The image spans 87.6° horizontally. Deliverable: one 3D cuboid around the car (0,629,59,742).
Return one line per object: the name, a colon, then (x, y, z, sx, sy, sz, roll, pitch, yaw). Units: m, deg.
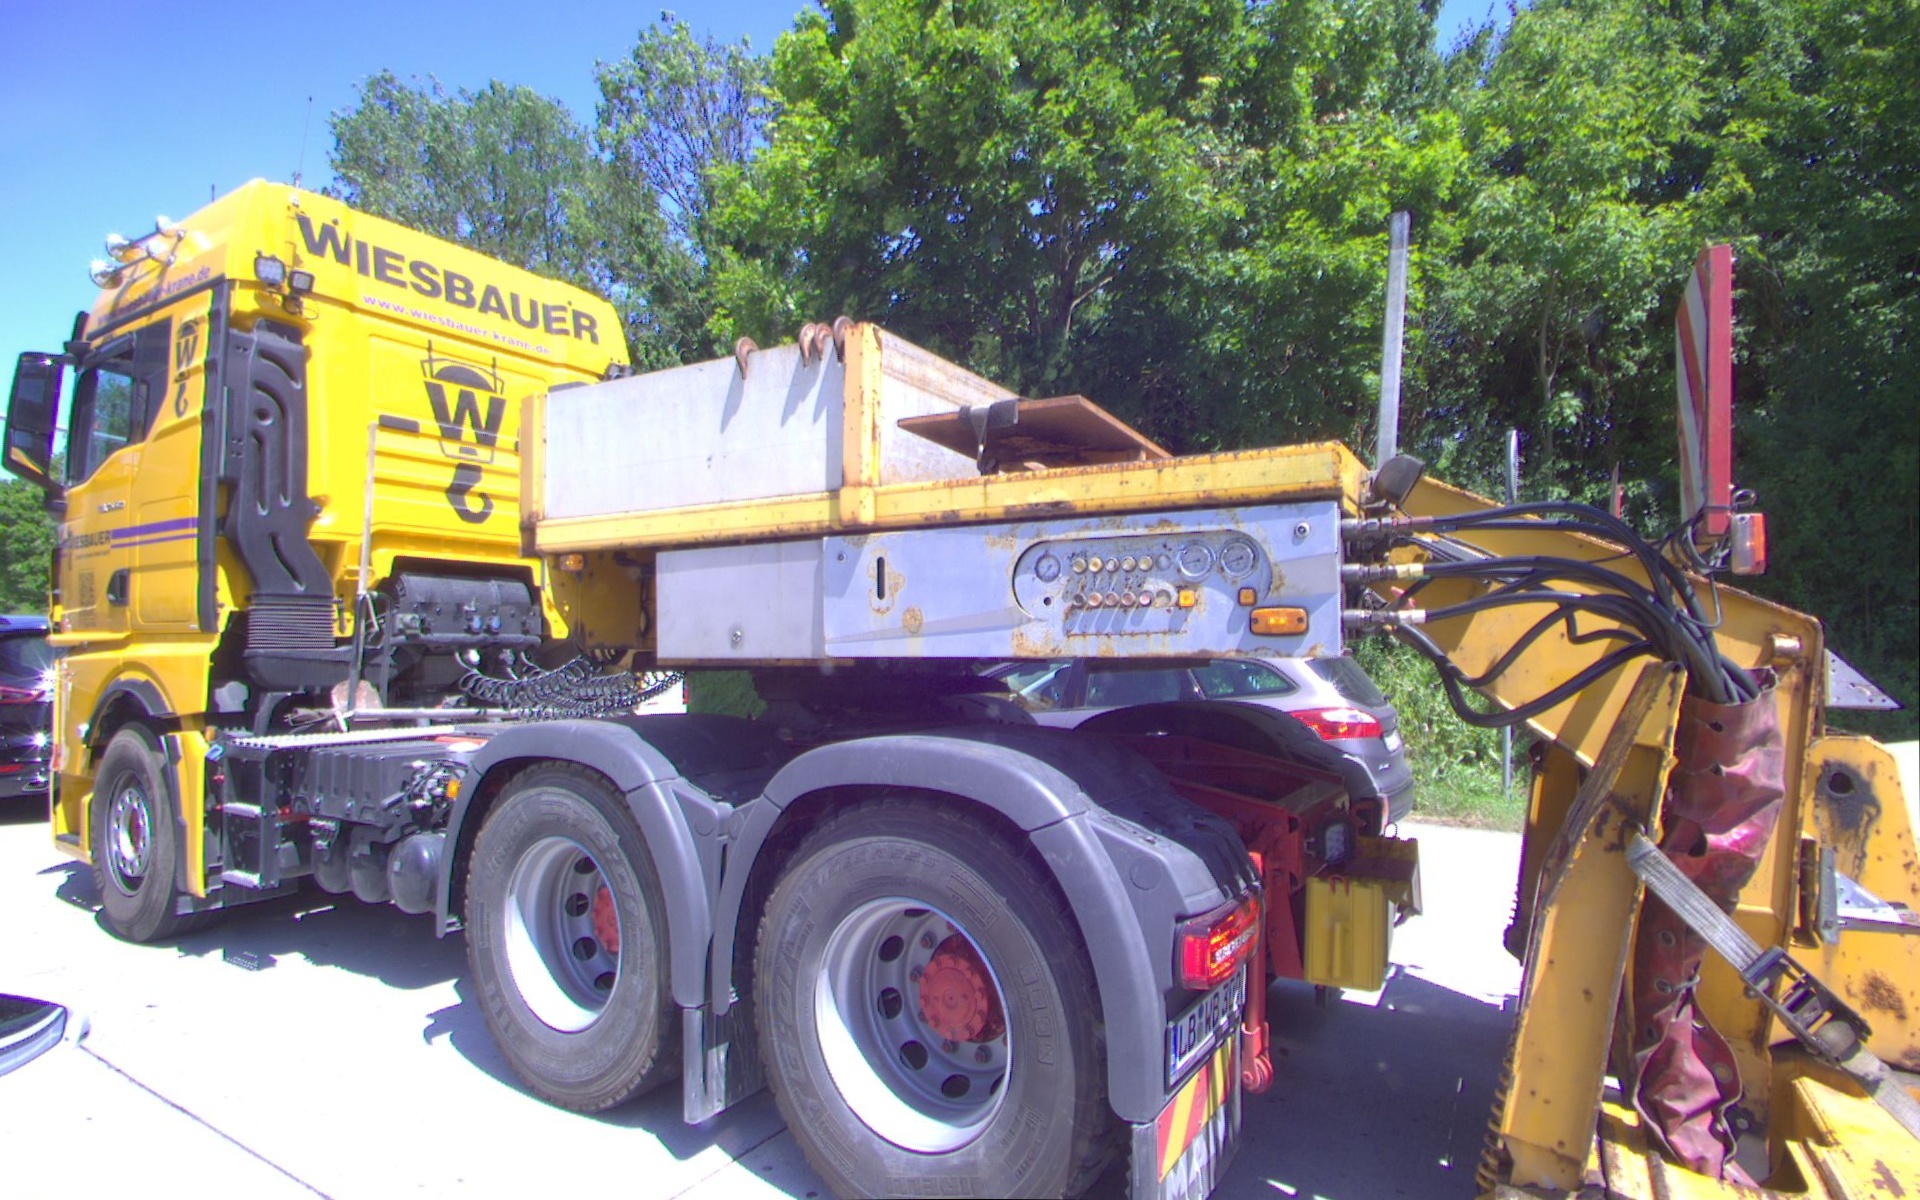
car: (-14.181, 1.119, 13.731, 4.548, 1.428, 1.763, -2, -2, 35)

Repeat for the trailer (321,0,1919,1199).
trailer: (5.435, 0.197, 0.612, 16.117, 2.626, 3.023, -1, -2, 31)

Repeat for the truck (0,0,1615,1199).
truck: (-1.380, -0.330, 4.766, 7.361, 3.821, 3.010, -1, -2, 31)

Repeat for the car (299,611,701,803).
car: (-5.363, 1.100, 11.522, 4.720, 1.830, 1.766, -1, -2, 29)

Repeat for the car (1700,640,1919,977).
car: (6.149, 0.923, 4.340, 4.530, 1.481, 1.766, -1, -2, 30)

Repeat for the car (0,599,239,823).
car: (-8.647, 0.891, 9.254, 4.584, 1.660, 1.779, -1, -2, 35)

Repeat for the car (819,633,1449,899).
car: (1.188, 0.998, 7.462, 4.300, 1.480, 1.765, -1, -2, 31)
